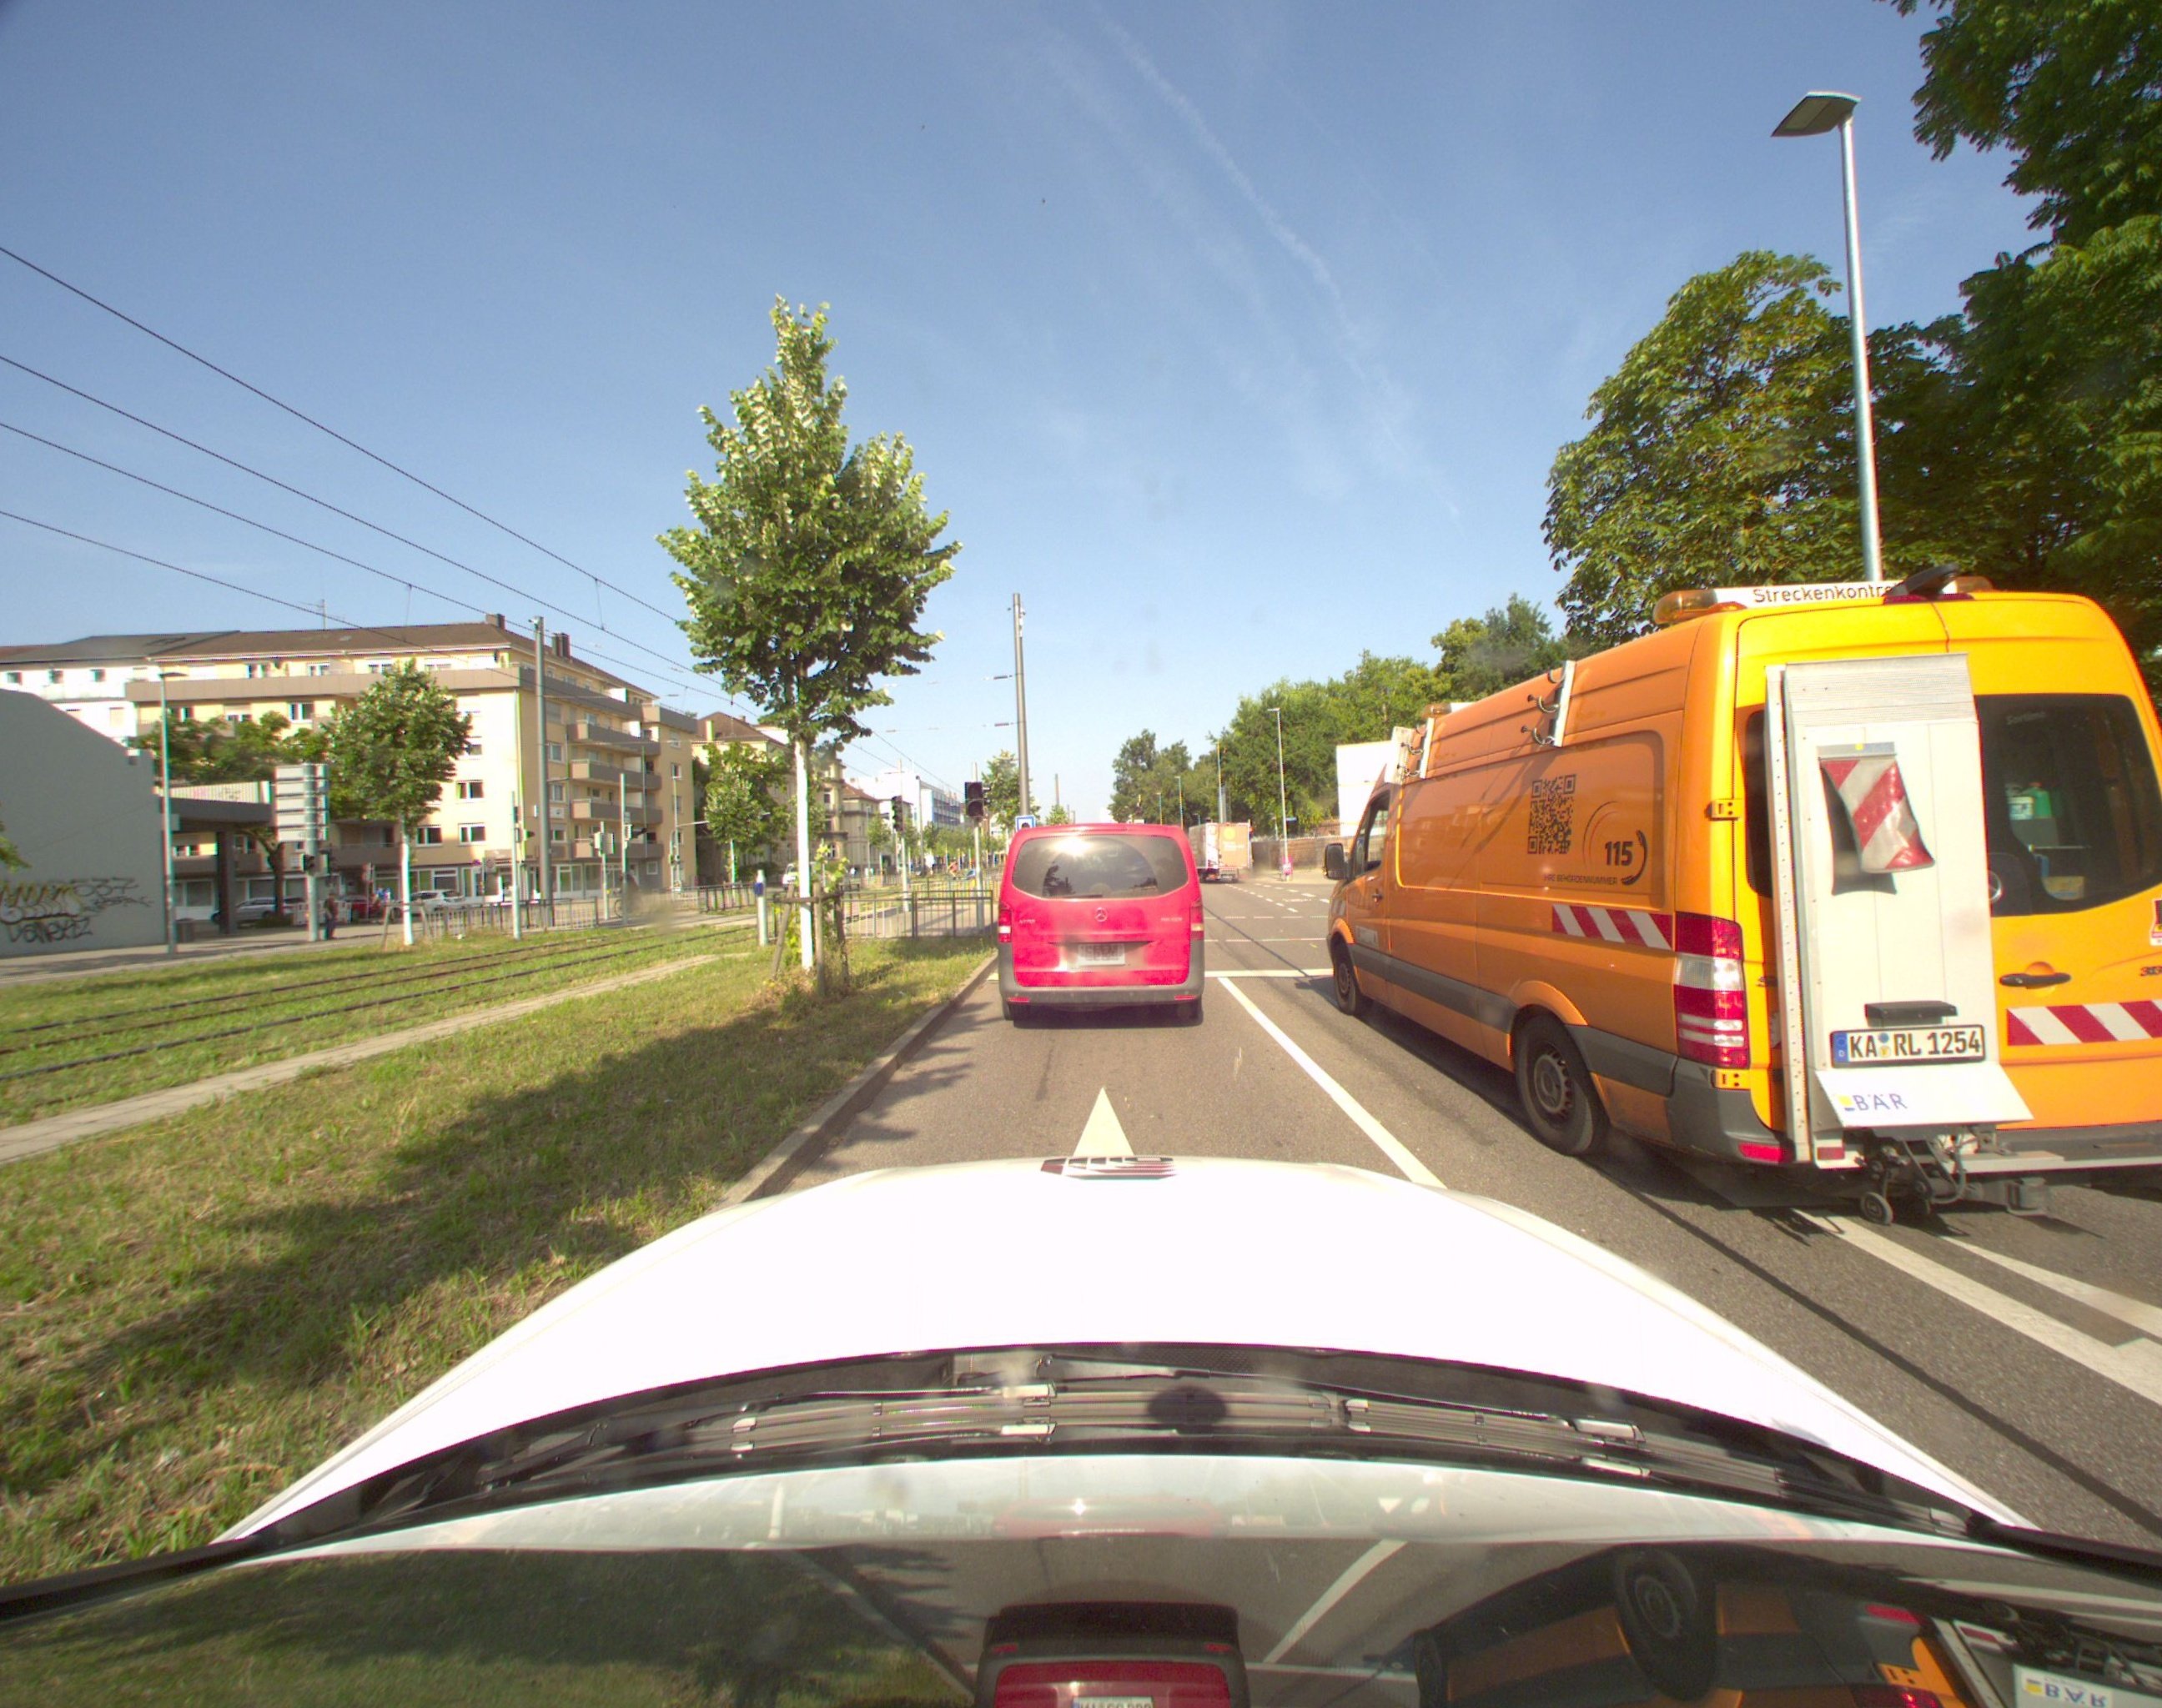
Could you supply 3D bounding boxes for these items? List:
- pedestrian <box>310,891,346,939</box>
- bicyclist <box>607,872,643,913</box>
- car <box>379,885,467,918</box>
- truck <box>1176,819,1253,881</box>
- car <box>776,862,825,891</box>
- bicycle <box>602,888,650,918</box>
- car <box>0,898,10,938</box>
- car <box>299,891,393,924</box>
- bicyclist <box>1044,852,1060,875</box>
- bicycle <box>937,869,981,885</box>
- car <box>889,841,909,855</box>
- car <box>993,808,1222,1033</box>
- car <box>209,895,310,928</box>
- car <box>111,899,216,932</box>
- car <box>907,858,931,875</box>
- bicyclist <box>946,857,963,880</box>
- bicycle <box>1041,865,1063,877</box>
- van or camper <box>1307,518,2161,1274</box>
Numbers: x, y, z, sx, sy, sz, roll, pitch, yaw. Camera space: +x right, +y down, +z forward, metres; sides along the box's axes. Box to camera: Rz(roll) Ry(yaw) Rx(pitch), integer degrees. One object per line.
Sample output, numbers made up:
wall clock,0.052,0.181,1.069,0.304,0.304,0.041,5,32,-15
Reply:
pedestrian,-27.476,2.217,29.711,0.655,1.690,0.646,-3,-1,4
bicyclist,-16.593,1.392,29.634,0.962,1.395,0.549,-5,0,21
car,-38.873,2.791,48.179,3.614,1.583,1.708,-3,2,-3
truck,7.033,-0.160,44.094,2.497,3.061,7.810,0,-1,-3
car,-22.955,1.799,66.837,2.039,2.238,5.334,-2,0,0
bicycle,-16.581,1.774,29.650,1.593,0.935,0.560,-5,0,21
car,-54.449,3.169,38.175,1.986,1.969,4.833,-3,-1,1
car,-43.427,3.133,48.168,3.778,1.688,1.773,-3,0,-3
bicyclist,-1.889,0.618,52.816,0.679,1.440,0.811,-1,-1,29
bicycle,-8.765,1.648,58.654,2.971,0.965,0.902,-2,-1,8
car,-29.637,-0.976,132.841,2.243,2.014,5.260,0,-2,-1
car,0.255,0.562,8.803,1.894,1.859,4.000,-1,0,1
car,-48.381,3.367,48.026,3.931,1.604,1.814,-3,0,-3
car,-54.278,3.609,48.226,3.932,1.604,1.813,-3,0,-4
car,-20.063,1.554,101.032,1.986,2.013,4.001,-4,-1,2
bicyclist,-9.111,1.037,58.692,0.885,1.628,0.894,-3,0,8
bicycle,-1.884,1.103,52.805,0.711,0.798,1.613,-1,-1,29
van or camper,3.350,0.166,5.713,1.978,2.472,6.063,-1,-1,2
